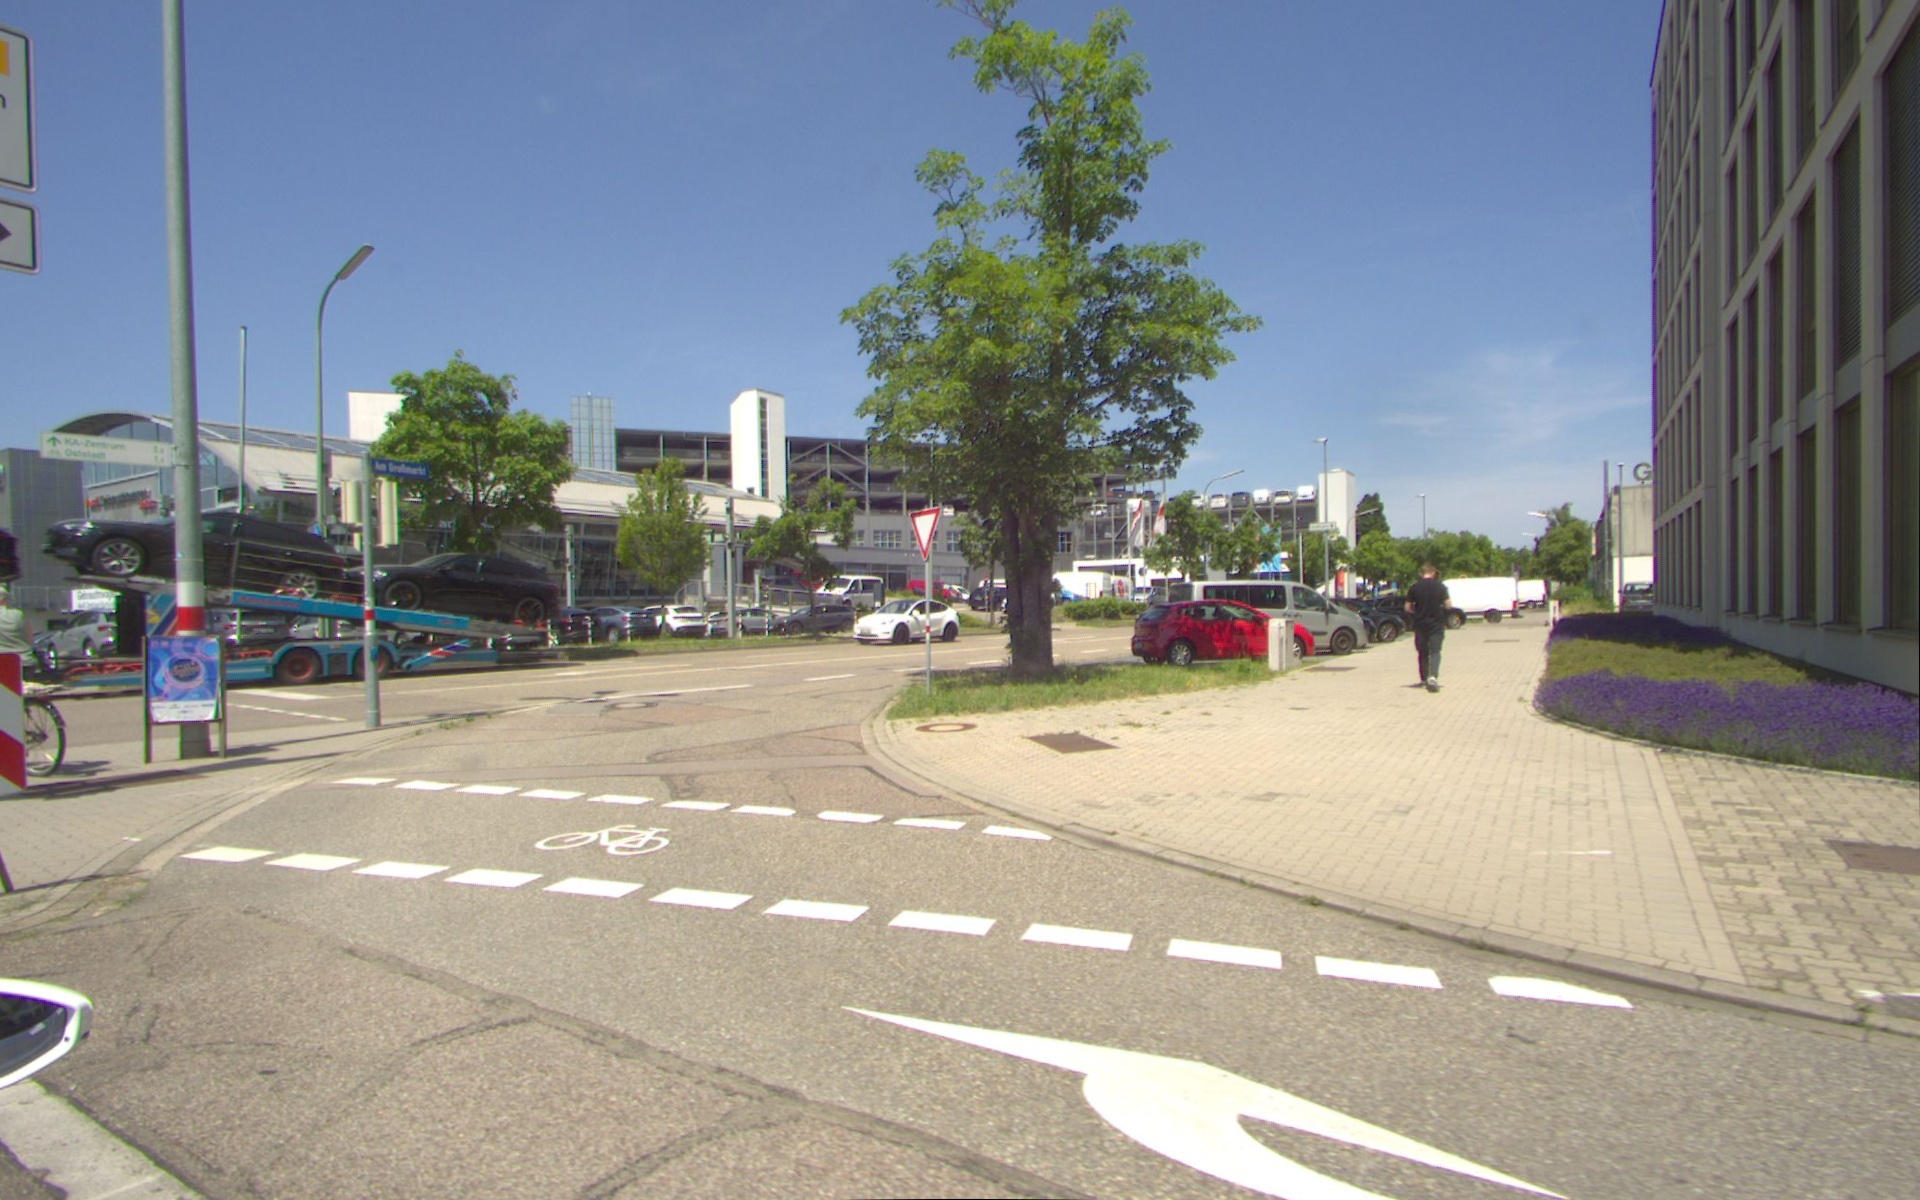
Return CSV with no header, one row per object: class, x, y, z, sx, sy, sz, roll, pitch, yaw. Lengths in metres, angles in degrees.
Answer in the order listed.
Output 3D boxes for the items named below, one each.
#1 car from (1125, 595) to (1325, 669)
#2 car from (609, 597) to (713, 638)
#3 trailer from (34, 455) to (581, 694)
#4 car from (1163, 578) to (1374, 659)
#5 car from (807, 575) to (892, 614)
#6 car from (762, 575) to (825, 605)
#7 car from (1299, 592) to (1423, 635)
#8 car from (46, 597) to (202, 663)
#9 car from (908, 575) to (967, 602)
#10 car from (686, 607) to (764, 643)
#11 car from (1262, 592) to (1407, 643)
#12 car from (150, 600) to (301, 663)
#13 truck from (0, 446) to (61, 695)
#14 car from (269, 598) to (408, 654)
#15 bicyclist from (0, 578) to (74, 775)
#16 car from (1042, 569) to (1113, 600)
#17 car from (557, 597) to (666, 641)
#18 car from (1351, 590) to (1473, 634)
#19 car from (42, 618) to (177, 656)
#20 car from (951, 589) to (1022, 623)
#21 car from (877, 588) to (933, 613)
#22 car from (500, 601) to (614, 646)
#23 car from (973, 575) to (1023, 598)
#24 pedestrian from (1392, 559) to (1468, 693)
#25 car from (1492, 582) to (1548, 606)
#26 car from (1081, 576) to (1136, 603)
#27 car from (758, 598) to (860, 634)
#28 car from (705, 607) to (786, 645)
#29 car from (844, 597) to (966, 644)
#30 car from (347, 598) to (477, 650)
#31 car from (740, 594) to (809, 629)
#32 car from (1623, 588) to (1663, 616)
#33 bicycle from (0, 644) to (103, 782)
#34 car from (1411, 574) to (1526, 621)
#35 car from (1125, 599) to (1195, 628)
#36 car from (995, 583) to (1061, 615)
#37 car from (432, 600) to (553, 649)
car,5.781,0.680,22.052,3.924,1.454,1.609,-1,0,-9
car,-12.840,0.729,42.984,4.409,1.662,1.824,0,1,32
trailer,-13.573,-0.454,21.962,3.058,4.136,9.568,0,0,40
car,7.717,0.427,25.190,4.814,1.840,1.704,-1,0,-11
car,-6.055,-0.305,55.705,1.971,2.040,5.118,-1,0,32
car,-11.598,-0.679,69.816,3.936,2.040,1.992,-1,0,27
car,14.866,0.485,37.230,3.923,1.483,1.719,-1,0,-6
car,-22.545,0.761,26.988,4.206,1.661,1.990,0,0,32
car,-1.768,-0.891,79.669,4.285,2.040,1.991,-1,0,30
car,-12.565,1.316,53.493,3.713,1.795,1.761,-1,0,-28
car,11.650,0.536,31.260,3.924,1.483,1.718,-1,0,-9
car,-21.393,0.861,29.120,4.491,1.662,1.989,0,1,32
truck,-20.040,-0.450,14.153,3.064,4.137,10.569,0,0,40
car,-19.742,0.773,31.783,4.376,1.662,1.989,0,1,32
bicyclist,-8.870,0.693,9.309,0.742,1.772,0.733,0,0,27
car,8.282,-1.090,70.813,4.577,2.040,1.989,-1,0,32
car,-14.200,0.746,40.794,4.409,1.662,1.824,0,1,32
car,18.288,0.504,40.662,4.075,1.558,1.815,-3,-1,2
car,-36.300,1.551,42.852,1.694,1.480,4.083,0,0,32
car,1.637,0.385,62.115,3.942,2.040,1.989,-1,0,32
car,-4.209,0.070,76.113,3.942,1.810,1.730,-1,0,32
car,-15.525,0.887,38.517,4.408,1.661,1.825,0,0,31
car,3.568,-1.224,94.083,4.256,2.040,1.989,-1,0,32
pedestrian,6.813,0.372,14.494,0.764,1.869,0.861,-2,0,40
car,51.678,-0.516,92.370,4.303,2.149,2.081,-1,1,35
car,11.886,-0.803,80.223,3.944,2.040,1.989,-1,0,33
car,-7.418,0.733,49.419,4.703,1.662,1.820,-1,1,-36
car,-10.910,1.292,51.071,3.660,1.801,1.738,-1,0,-32
car,-1.938,0.726,36.958,1.974,1.609,4.663,0,0,37
car,-18.496,0.771,33.775,4.459,1.662,1.881,0,1,32
car,-11.093,0.660,60.066,1.839,2.040,3.733,0,0,41
car,38.659,0.102,56.743,1.765,1.542,3.556,-1,0,33
bicycle,-8.972,1.011,9.396,1.891,1.142,0.786,0,0,28
car,29.185,-0.132,57.585,5.718,2.567,2.091,0,0,33
car,10.454,0.747,52.145,1.654,1.429,4.201,-2,-2,42
car,4.506,-0.033,66.624,3.942,2.040,1.840,-1,0,32
car,-16.929,0.853,36.217,4.409,1.662,1.824,0,1,32
